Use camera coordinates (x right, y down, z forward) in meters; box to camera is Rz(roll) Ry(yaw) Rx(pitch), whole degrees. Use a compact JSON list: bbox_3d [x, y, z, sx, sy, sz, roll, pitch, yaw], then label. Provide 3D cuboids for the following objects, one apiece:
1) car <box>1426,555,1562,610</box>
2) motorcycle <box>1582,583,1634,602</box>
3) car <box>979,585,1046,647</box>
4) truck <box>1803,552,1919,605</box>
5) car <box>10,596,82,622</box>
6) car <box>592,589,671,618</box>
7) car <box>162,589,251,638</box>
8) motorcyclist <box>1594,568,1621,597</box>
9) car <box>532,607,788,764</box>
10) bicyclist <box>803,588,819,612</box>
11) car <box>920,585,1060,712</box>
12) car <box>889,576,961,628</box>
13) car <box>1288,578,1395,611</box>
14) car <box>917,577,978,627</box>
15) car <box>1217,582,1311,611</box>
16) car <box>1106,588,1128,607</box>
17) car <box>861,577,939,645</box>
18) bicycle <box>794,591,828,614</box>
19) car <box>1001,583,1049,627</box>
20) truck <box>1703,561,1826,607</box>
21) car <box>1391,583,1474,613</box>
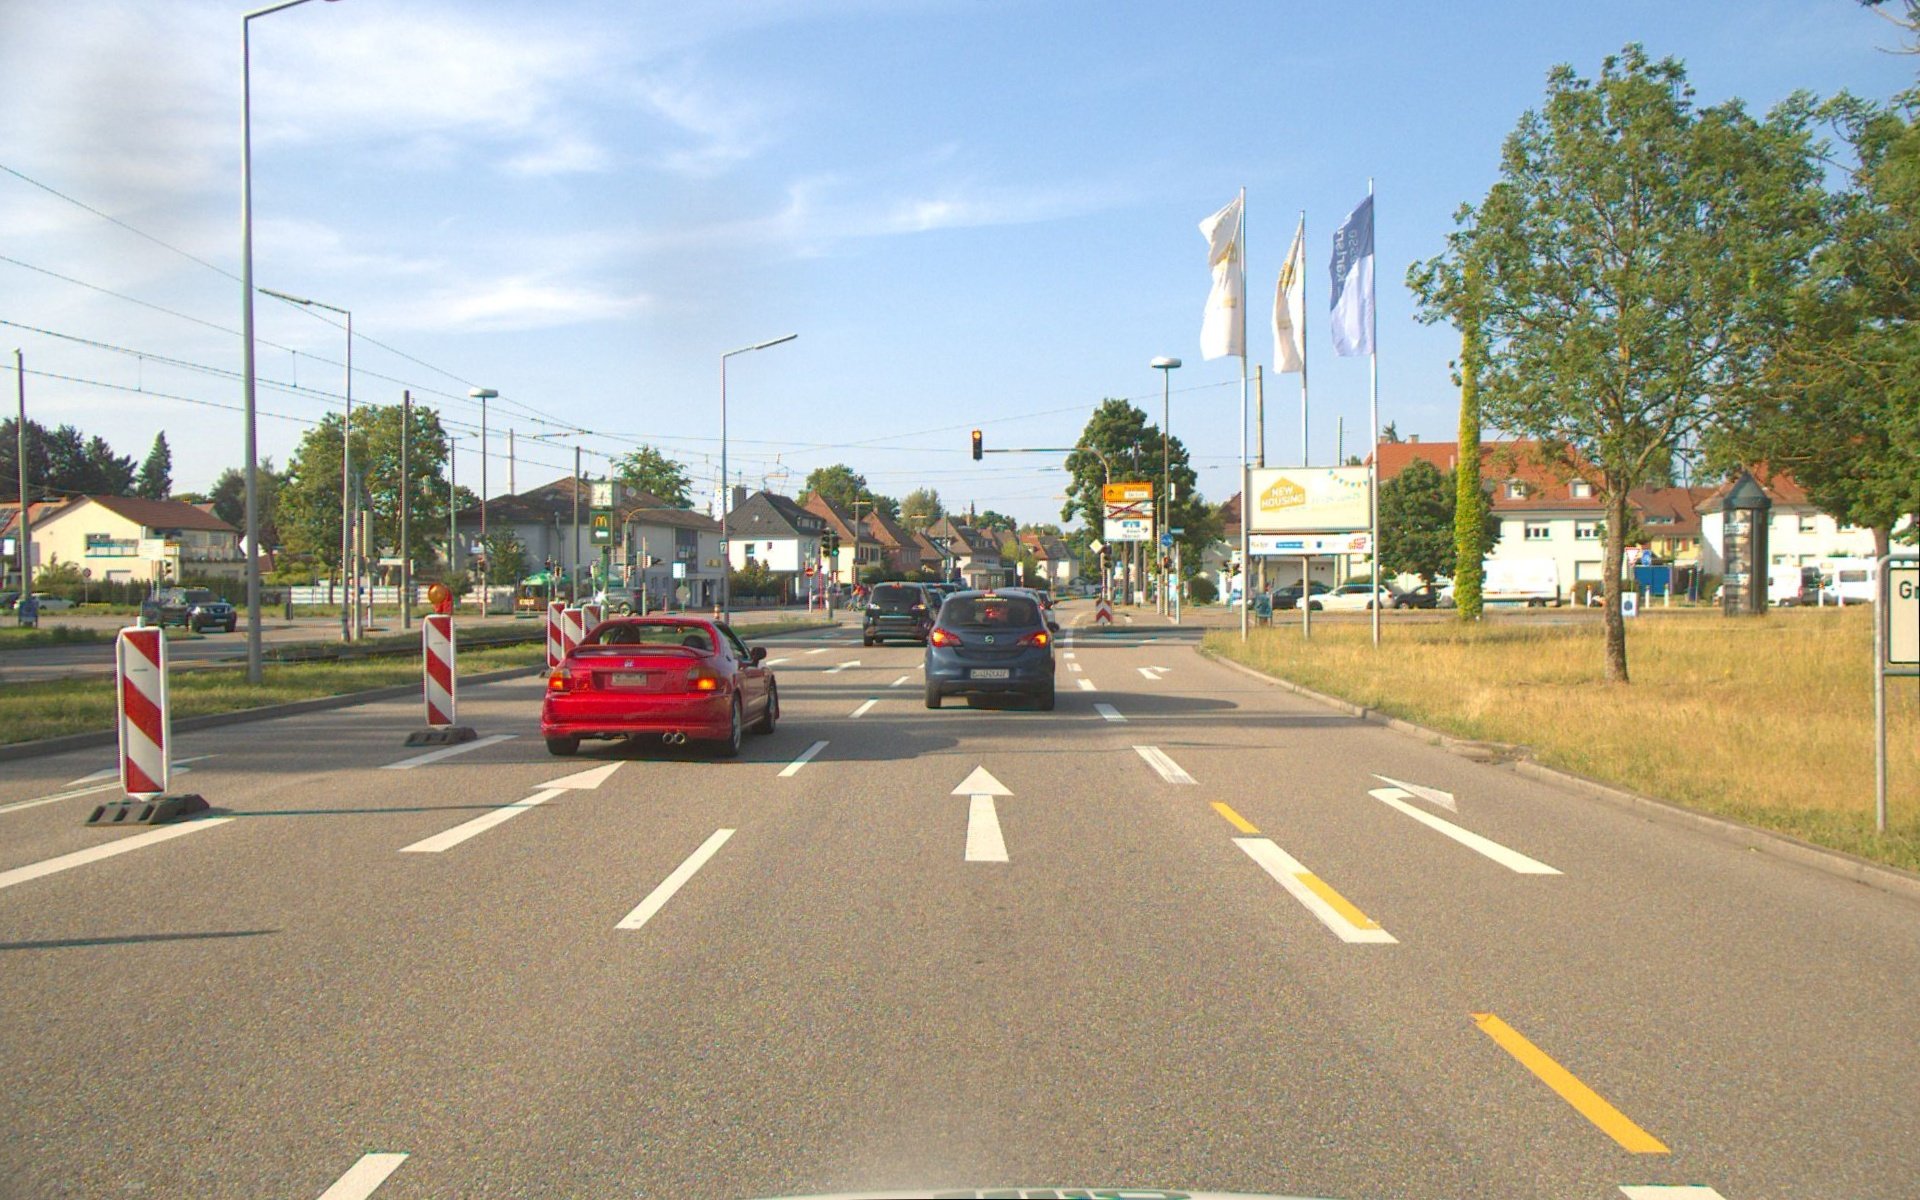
[{"bbox_3d":[26.271,-0.840,81.526,6.076,2.629,2.001,0,0,6],"label":"car"},{"bbox_3d":[31.420,-0.359,80.214,2.223,0.882,0.691,0,0,4],"label":"motorcycle"},{"bbox_3d":[1.426,0.393,44.082,1.671,1.579,3.979,-1,0,3],"label":"car"},{"bbox_3d":[52.070,-1.208,95.291,1.879,2.904,5.989,-1,0,-40],"label":"truck"},{"bbox_3d":[-61.425,0.611,111.247,1.951,1.713,4.223,1,0,12],"label":"car"},{"bbox_3d":[-17.716,0.194,89.241,3.916,1.512,1.995,0,0,33],"label":"car"},{"bbox_3d":[-32.999,0.565,72.398,1.984,2.049,5.273,-1,1,-43],"label":"car"},{"bbox_3d":[31.412,-0.846,80.209,1.043,1.375,0.680,0,0,4],"label":"motorcyclist"},{"bbox_3d":[-2.725,0.726,15.832,1.695,1.227,3.847,1,1,0],"label":"car"},{"bbox_3d":[-9.011,-0.002,100.075,0.866,1.456,1.136,1,-1,-4],"label":"bicyclist"},{"bbox_3d":[0.335,0.570,22.391,1.706,1.532,4.222,0,1,-1],"label":"car"},{"bbox_3d":[-1.036,0.024,51.247,1.663,1.534,4.557,0,0,6],"label":"car"},{"bbox_3d":[18.893,-0.264,82.130,4.986,1.590,1.841,-1,0,6],"label":"car"},{"bbox_3d":[-0.393,0.061,58.622,1.474,1.680,4.748,-1,0,8],"label":"car"},{"bbox_3d":[15.796,-0.187,86.093,4.721,1.436,1.717,-1,0,6],"label":"car"},{"bbox_3d":[12.462,-0.217,131.127,1.639,1.422,4.003,1,0,6],"label":"car"},{"bbox_3d":[-1.541,0.258,43.797,1.727,1.700,4.085,0,0,2],"label":"car"},{"bbox_3d":[-9.013,0.144,100.075,2.033,1.371,1.108,1,-1,-4],"label":"bicycle"},{"bbox_3d":[2.297,0.151,57.731,1.621,1.468,4.016,-1,0,3],"label":"car"},{"bbox_3d":[46.214,-0.951,95.178,2.245,2.568,6.296,-1,1,-29],"label":"truck"},{"bbox_3d":[24.324,-0.125,85.222,3.902,1.478,1.717,-1,0,6],"label":"car"}]
